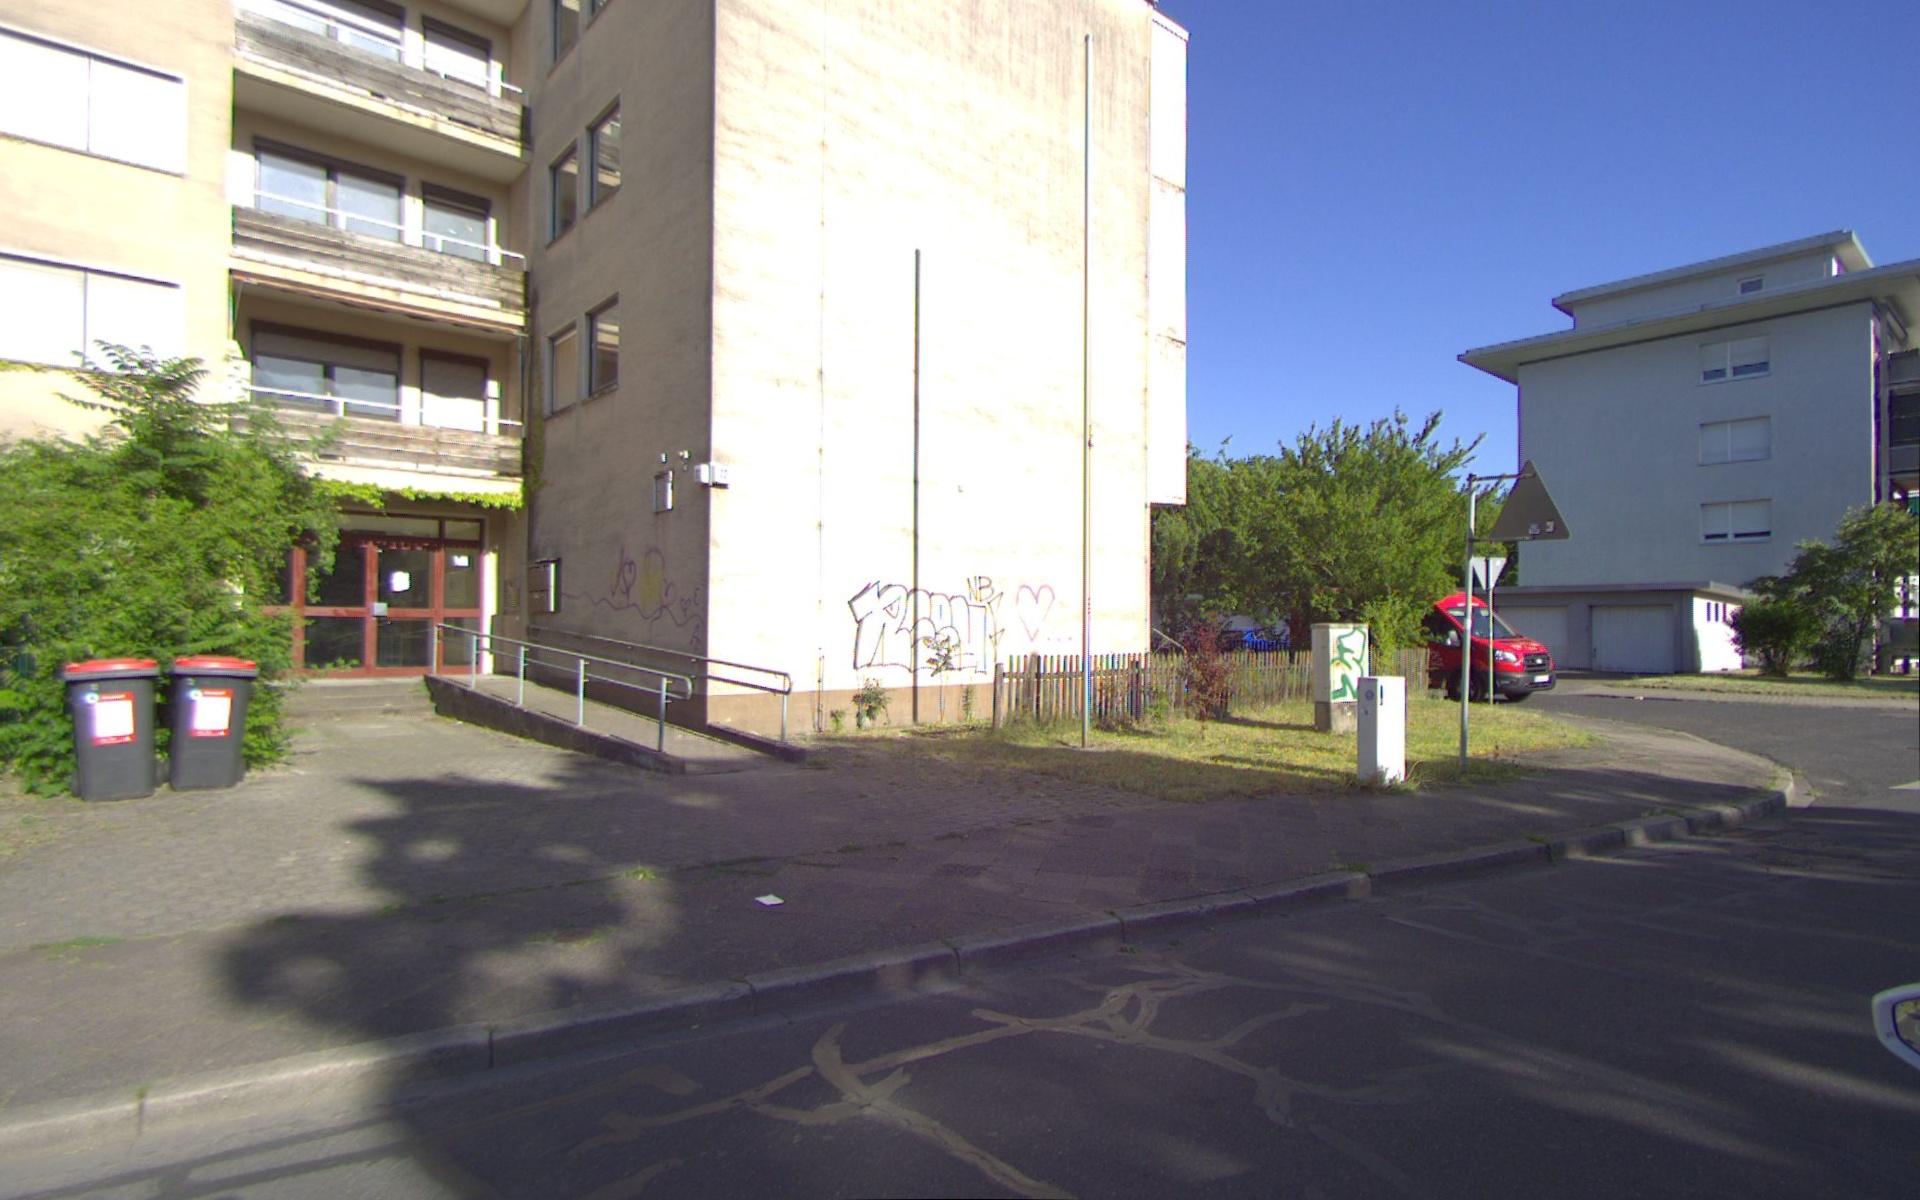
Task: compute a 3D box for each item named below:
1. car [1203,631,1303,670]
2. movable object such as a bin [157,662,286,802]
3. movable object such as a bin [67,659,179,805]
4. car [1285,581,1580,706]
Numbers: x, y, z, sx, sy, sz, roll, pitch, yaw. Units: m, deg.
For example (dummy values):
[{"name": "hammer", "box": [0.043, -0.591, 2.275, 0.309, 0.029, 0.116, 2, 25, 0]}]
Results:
[{"name": "car", "box": [11.297, 1.917, 38.629, 4.000, 1.406, 1.825, 2, -3, -41]}, {"name": "movable object such as a bin", "box": [-6.119, 1.061, 8.333, 0.618, 1.062, 0.700, -1, -2, 37]}, {"name": "movable object such as a bin", "box": [-6.534, 1.001, 7.846, 0.556, 1.067, 0.555, -1, -2, 38]}, {"name": "car", "box": [10.491, 0.959, 22.923, 2.186, 2.461, 5.879, -1, -2, -30]}]
